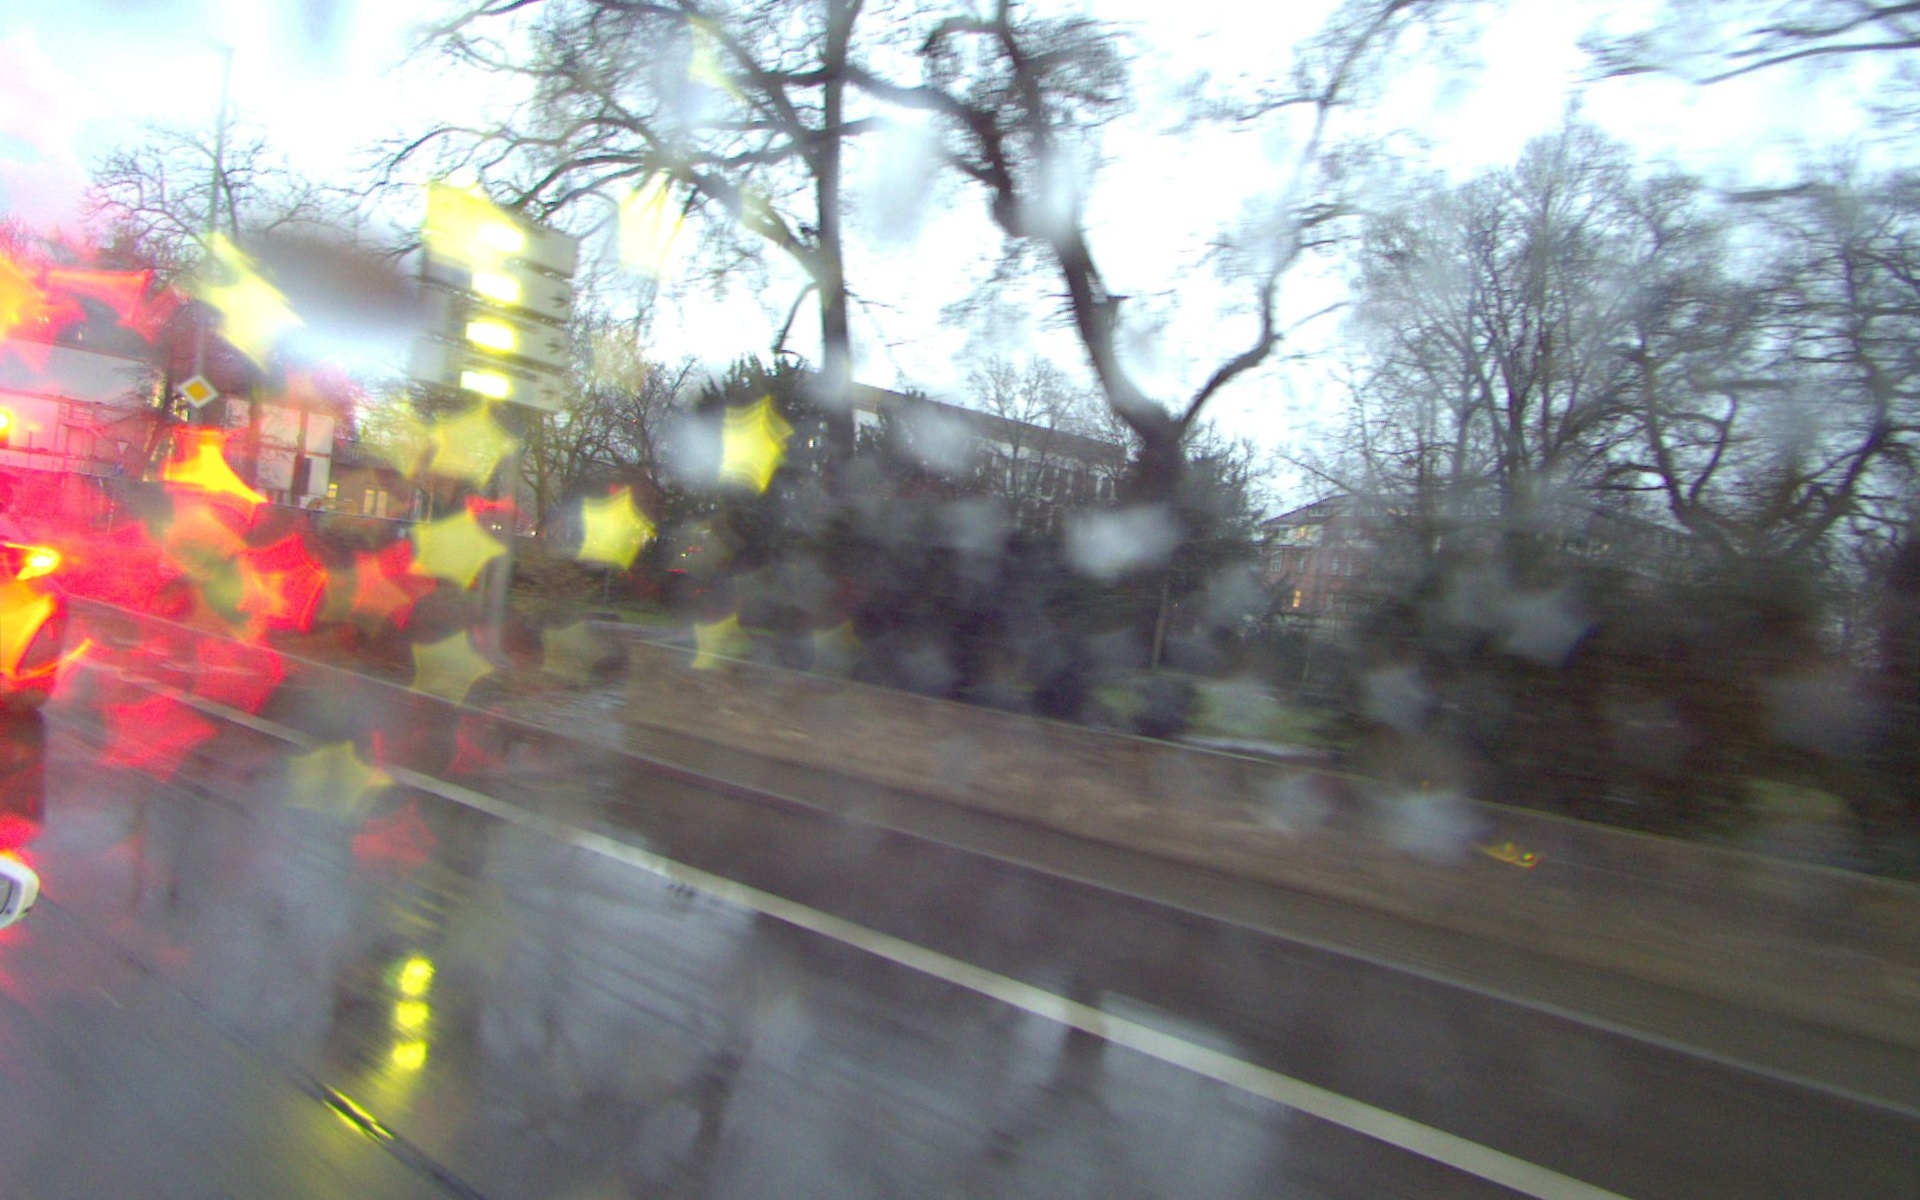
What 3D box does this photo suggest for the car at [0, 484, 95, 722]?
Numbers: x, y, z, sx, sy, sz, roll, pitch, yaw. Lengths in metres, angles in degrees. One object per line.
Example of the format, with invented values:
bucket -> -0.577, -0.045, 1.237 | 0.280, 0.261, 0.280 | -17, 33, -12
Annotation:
car -> -8.023, -0.204, 7.081 | 3.831, 1.529, 1.802 | 7, 0, 32

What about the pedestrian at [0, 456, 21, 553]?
pedestrian -> -20.931, -2.097, 21.309 | 0.988, 2.039, 0.962 | 7, 1, 10

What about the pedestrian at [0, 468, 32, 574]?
pedestrian -> -19.268, -1.620, 20.005 | 0.993, 2.039, 0.957 | 8, 1, 41
